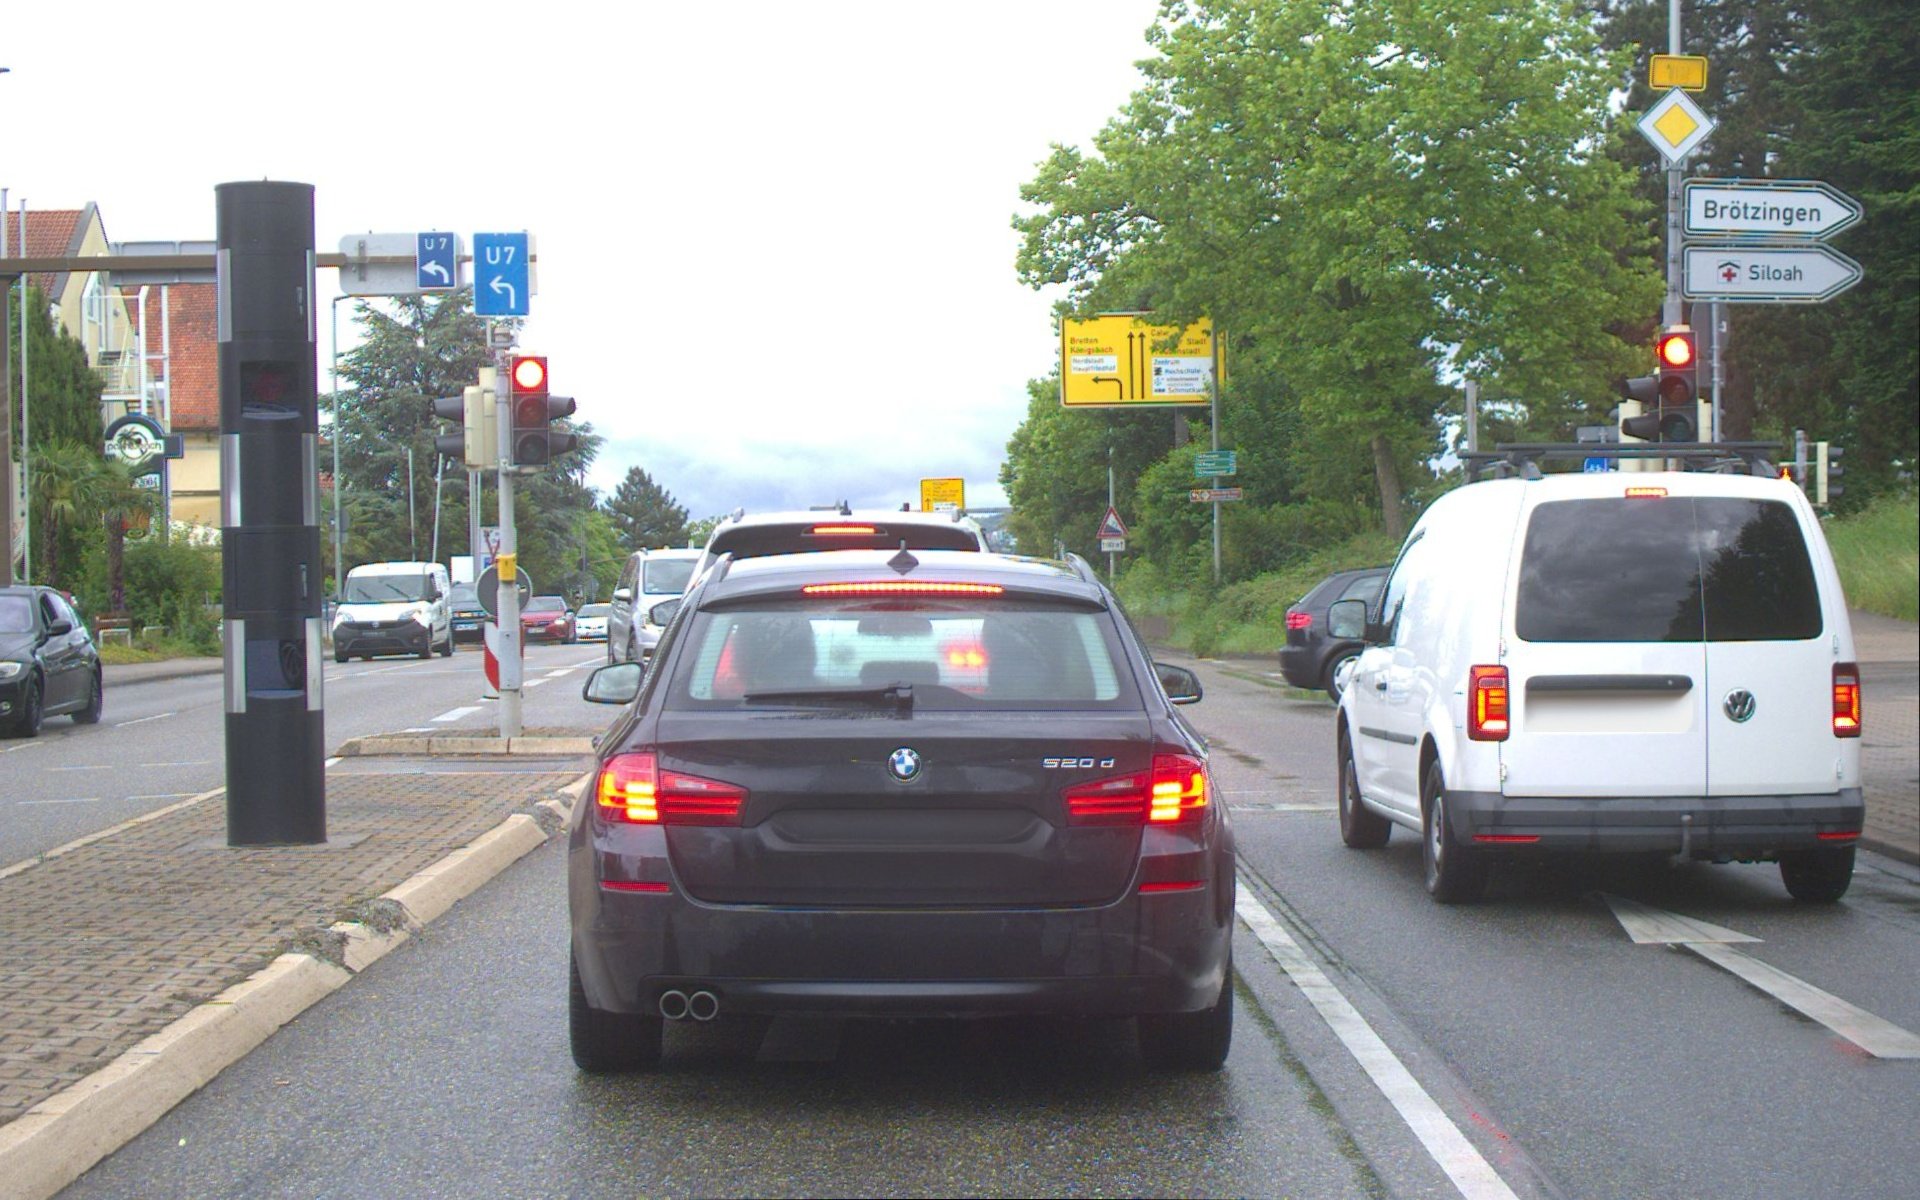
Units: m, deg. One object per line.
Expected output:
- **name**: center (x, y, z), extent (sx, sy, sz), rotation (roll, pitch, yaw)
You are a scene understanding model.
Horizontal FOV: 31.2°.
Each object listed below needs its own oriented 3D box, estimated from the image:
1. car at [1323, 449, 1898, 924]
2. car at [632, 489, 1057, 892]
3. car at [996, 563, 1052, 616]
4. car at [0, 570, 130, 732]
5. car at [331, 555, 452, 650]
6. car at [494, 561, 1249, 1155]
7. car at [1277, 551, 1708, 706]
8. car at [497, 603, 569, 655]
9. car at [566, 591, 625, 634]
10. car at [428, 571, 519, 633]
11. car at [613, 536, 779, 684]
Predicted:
- **car**: center (2.763, 0.316, 15.476), extent (1.741, 1.863, 3.946), rotation (0, 1, -1)
- **car**: center (-0.449, 0.347, 16.367), extent (1.728, 1.705, 3.382), rotation (0, 1, 3)
- **car**: center (1.898, -0.316, 101.411), extent (1.600, 1.367, 3.680), rotation (-1, 2, 1)
- **car**: center (-9.154, 0.448, 32.476), extent (1.668, 1.377, 4.072), rotation (-1, 1, -1)
- **car**: center (-10.618, 0.018, 64.402), extent (1.668, 1.664, 3.683), rotation (-1, 1, -1)
- **car**: center (-0.146, 0.614, 10.469), extent (1.855, 1.414, 3.956), rotation (1, 1, 2)
- **car**: center (5.222, 0.269, 34.148), extent (4.084, 1.451, 1.901), rotation (0, 1, 5)
- **car**: center (-12.275, 0.825, 98.887), extent (1.668, 1.349, 3.443), rotation (-1, 1, -1)
- **car**: center (-12.318, 0.406, 116.243), extent (1.668, 1.349, 3.443), rotation (-1, 1, -1)
- **car**: center (-11.383, 0.024, 80.531), extent (1.668, 1.349, 3.443), rotation (-1, 1, -1)
- **car**: center (-3.152, 0.093, 41.681), extent (1.734, 1.686, 4.000), rotation (-1, 1, -1)
